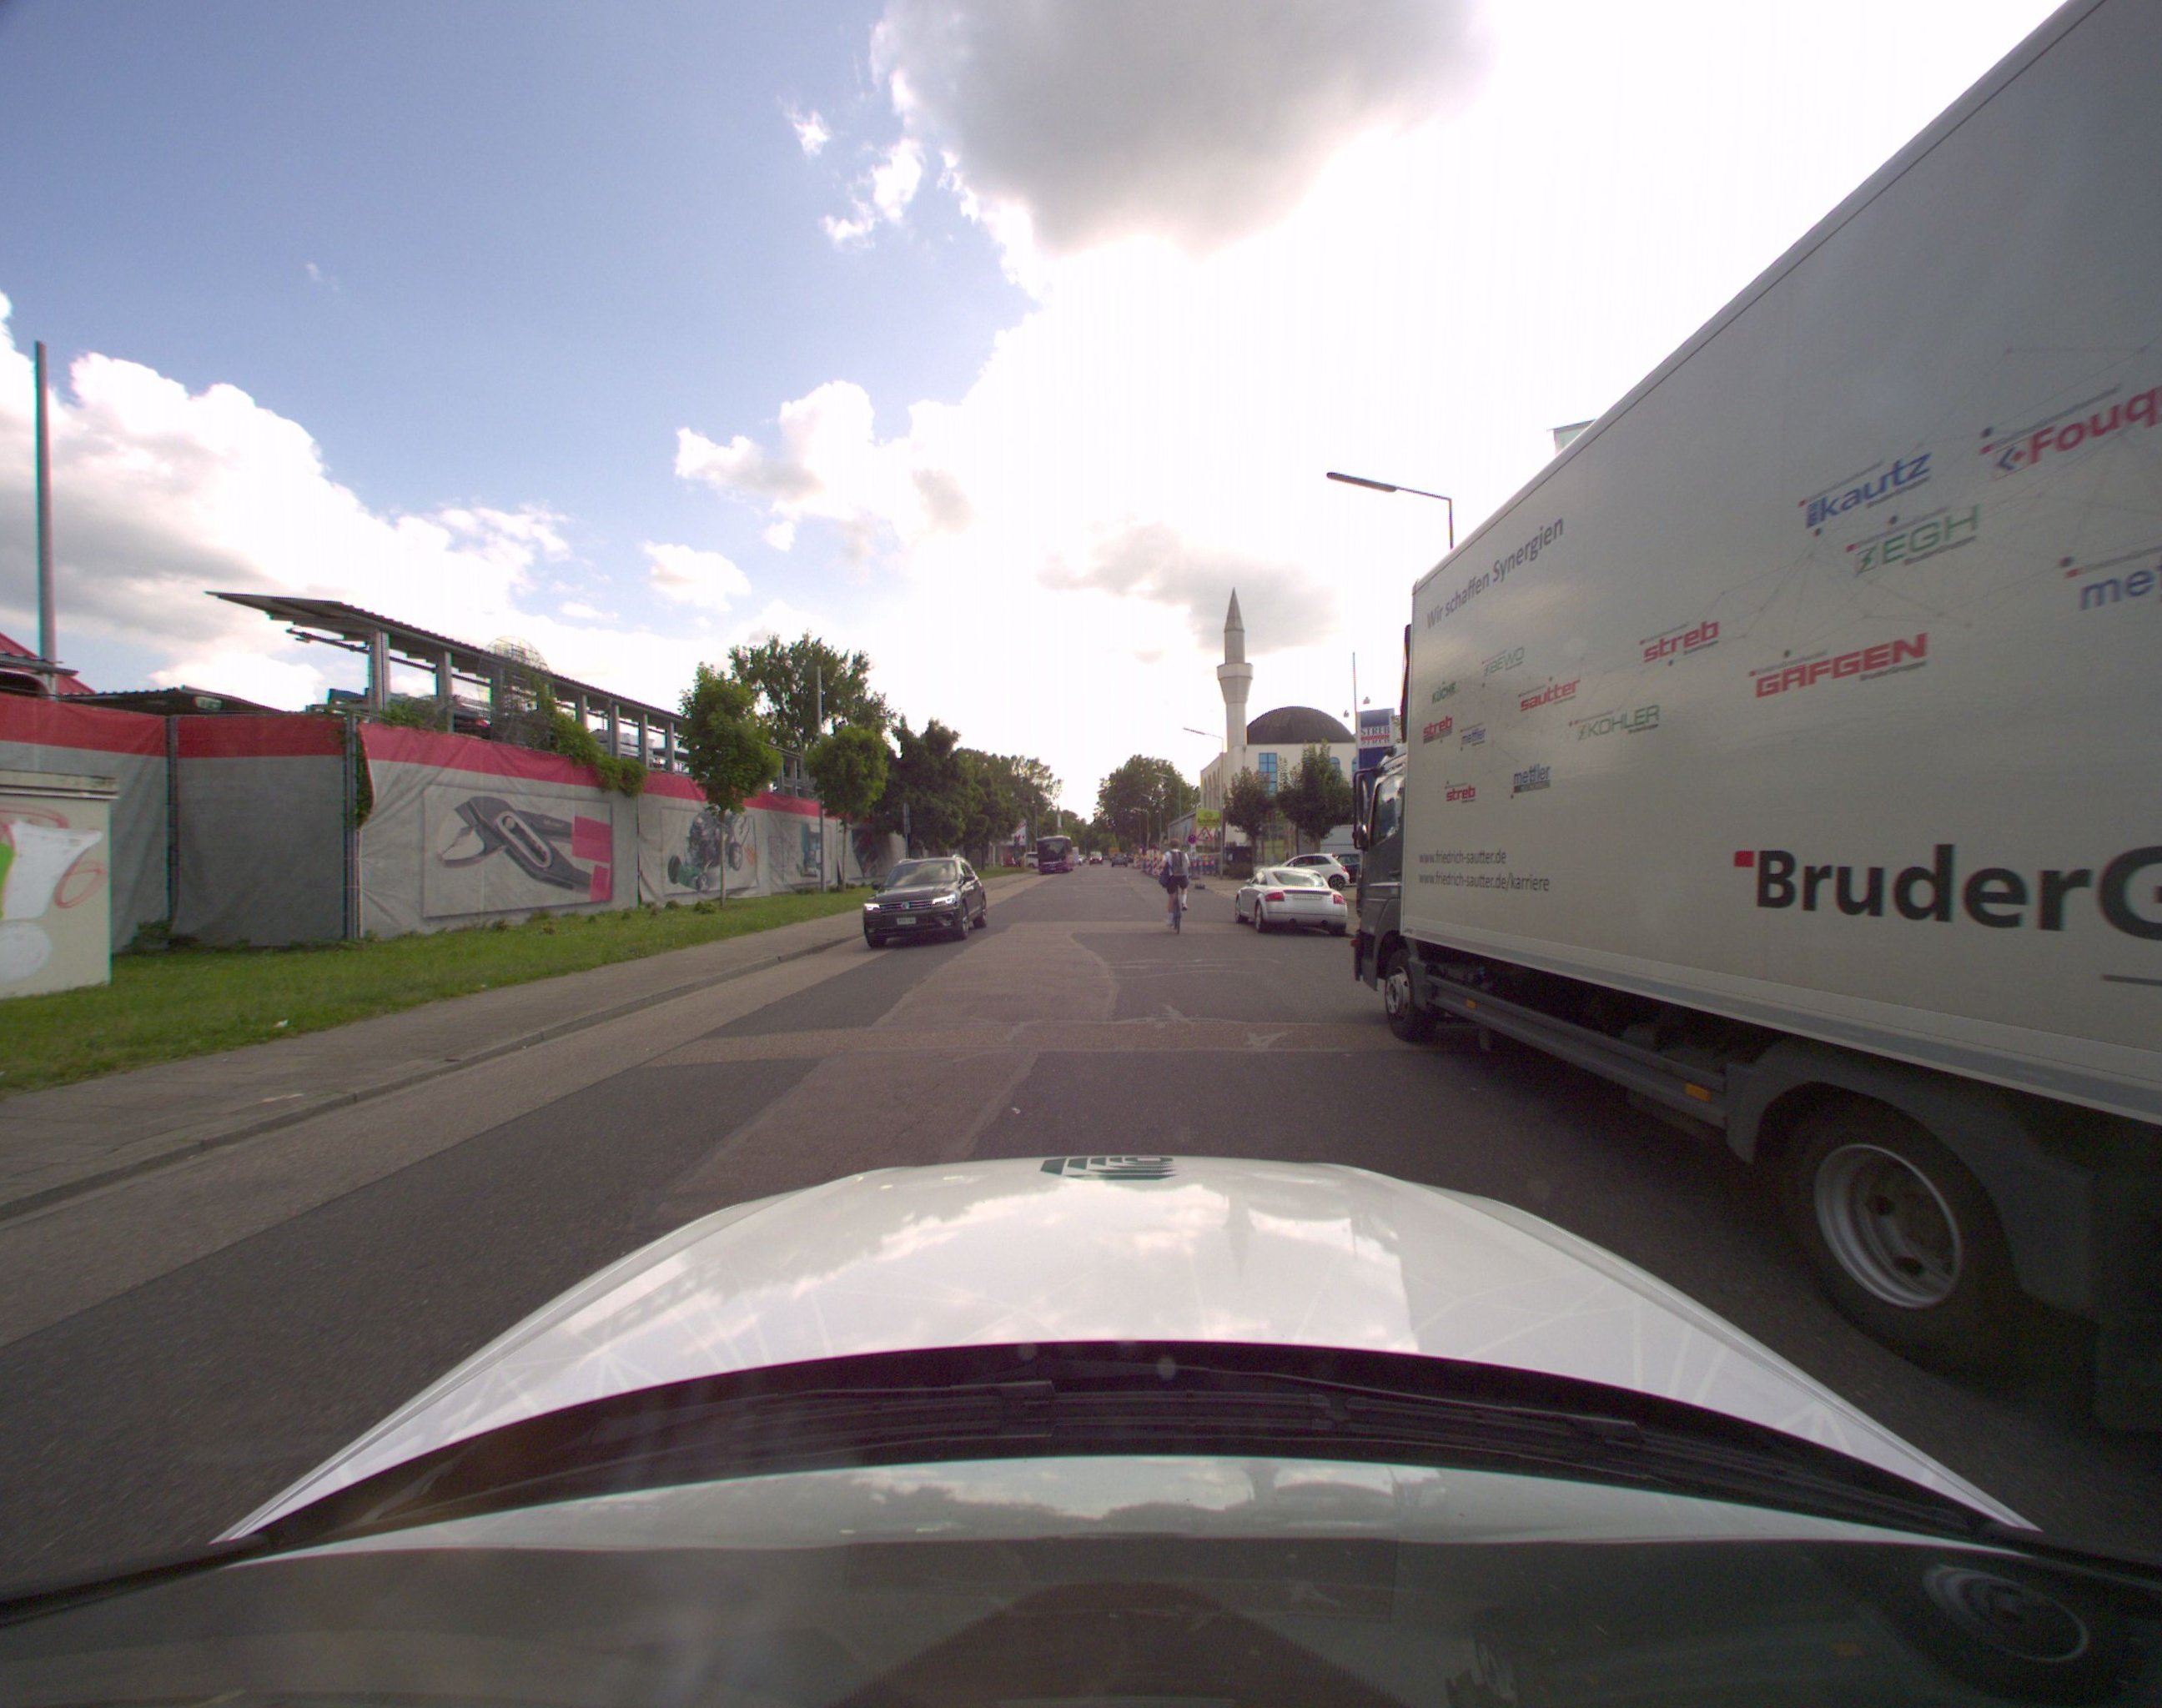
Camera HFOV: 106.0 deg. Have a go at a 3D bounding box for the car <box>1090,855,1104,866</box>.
[{"bbox_3d":[2.316,0.917,117.982,1.862,1.630,4.128,-1,0,1],"label":"car"}]

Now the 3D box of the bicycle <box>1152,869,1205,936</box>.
[{"bbox_3d":[1.887,0.902,16.103,0.795,1.180,2.627,1,0,1],"label":"bicycle"}]

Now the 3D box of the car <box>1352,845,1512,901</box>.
[{"bbox_3d":[10.299,0.537,24.098,3.941,1.411,1.796,-3,0,-2],"label":"car"}]

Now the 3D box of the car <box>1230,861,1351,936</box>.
[{"bbox_3d":[4.403,0.878,17.694,1.655,1.340,3.986,2,0,1],"label":"car"}]

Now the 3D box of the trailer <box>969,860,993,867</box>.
[{"bbox_3d":[-17.761,1.626,144.884,3.796,1.191,1.718,-1,0,7],"label":"trailer"}]

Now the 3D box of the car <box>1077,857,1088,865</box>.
[{"bbox_3d":[0.376,1.330,152.077,1.702,1.420,4.335,-4,0,3],"label":"car"}]

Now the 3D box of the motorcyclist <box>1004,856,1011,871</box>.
[{"bbox_3d":[-8.409,1.079,93.465,0.671,1.723,0.995,-2,0,3],"label":"motorcyclist"}]

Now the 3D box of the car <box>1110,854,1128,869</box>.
[{"bbox_3d":[4.499,0.878,97.382,1.955,1.815,4.275,-1,0,0],"label":"car"}]

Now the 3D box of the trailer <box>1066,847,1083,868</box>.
[{"bbox_3d":[-0.930,0.506,116.599,2.132,2.783,4.705,-3,0,2],"label":"trailer"}]

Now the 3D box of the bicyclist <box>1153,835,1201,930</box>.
[{"bbox_3d":[1.887,0.544,16.161,0.803,1.792,1.207,1,-1,1],"label":"bicyclist"}]

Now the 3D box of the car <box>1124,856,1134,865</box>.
[{"bbox_3d":[8.388,1.099,142.085,1.800,1.391,4.592,2,0,3],"label":"car"}]

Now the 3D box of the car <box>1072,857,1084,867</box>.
[{"bbox_3d":[-0.409,1.230,127.350,1.759,1.479,4.236,-4,0,1],"label":"car"}]

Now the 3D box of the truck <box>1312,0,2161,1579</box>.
[{"bbox_3d":[3.683,-0.575,4.278,2.768,4.116,8.283,2,0,2],"label":"truck"}]

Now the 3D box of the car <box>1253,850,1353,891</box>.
[{"bbox_3d":[8.807,0.655,32.490,3.582,1.470,1.691,-2,0,5],"label":"car"}]

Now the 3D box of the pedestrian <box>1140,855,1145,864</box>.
[{"bbox_3d":[9.706,0.856,127.961,0.678,1.534,1.131,-1,-1,2],"label":"pedestrian"}]

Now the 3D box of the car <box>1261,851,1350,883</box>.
[{"bbox_3d":[11.728,0.668,42.782,4.092,1.463,1.989,-2,0,-2],"label":"car"}]

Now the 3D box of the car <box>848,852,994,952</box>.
[{"bbox_3d":[-3.069,0.849,16.603,1.867,1.620,4.295,-5,0,2],"label":"car"}]

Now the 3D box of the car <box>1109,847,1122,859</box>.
[{"bbox_3d":[7.177,-0.208,169.907,2.192,2.578,6.402,-1,0,-1],"label":"car"}]

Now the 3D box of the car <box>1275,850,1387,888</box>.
[{"bbox_3d":[10.595,0.612,34.727,4.168,1.430,1.805,-2,0,-2],"label":"car"}]

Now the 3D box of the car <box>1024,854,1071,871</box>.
[{"bbox_3d":[-3.803,0.962,93.010,4.973,1.949,1.996,-1,0,7],"label":"car"}]

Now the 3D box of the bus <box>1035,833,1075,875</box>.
[{"bbox_3d":[-2.286,0.030,76.609,2.653,3.422,13.224,-4,0,2],"label":"bus"}]

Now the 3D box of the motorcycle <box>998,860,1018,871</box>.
[{"bbox_3d":[-8.369,1.337,93.463,2.212,1.213,0.995,-2,0,2],"label":"motorcycle"}]
